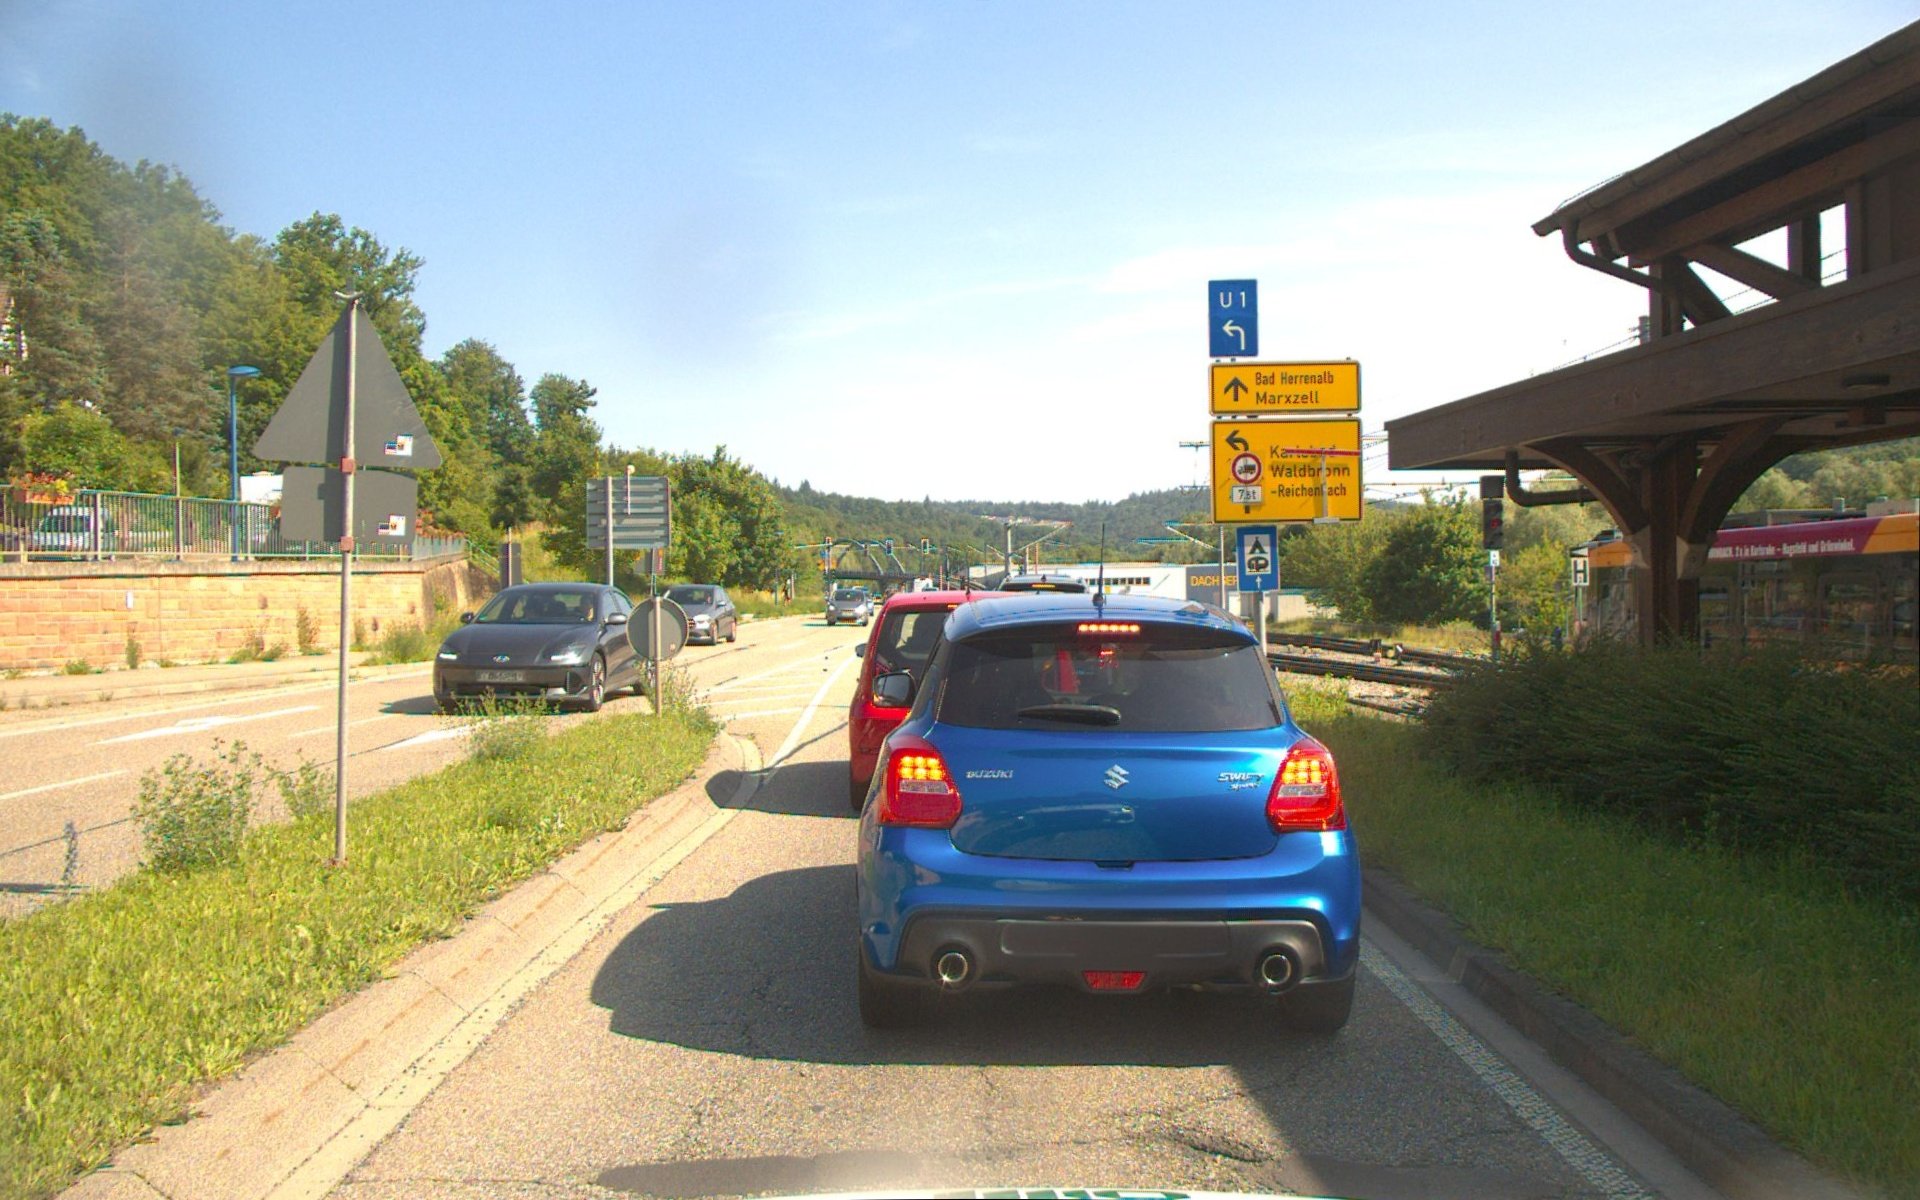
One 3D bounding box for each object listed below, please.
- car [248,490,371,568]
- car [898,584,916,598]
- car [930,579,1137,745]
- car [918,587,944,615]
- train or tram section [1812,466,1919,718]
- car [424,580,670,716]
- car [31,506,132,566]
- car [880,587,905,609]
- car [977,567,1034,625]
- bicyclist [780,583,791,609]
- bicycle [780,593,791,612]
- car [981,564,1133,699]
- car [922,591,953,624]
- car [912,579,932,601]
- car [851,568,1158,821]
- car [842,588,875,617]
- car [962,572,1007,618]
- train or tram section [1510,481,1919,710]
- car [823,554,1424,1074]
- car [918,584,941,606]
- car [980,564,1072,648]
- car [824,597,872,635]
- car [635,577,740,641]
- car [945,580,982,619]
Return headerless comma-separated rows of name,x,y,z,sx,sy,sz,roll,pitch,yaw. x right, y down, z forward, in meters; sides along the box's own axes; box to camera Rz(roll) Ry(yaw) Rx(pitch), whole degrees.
car,-17.726,-1.911,45.301,1.982,1.953,4.724,2,1,-7
car,-6.253,-1.108,194.597,1.953,1.581,4.214,1,0,-1
car,0.729,0.566,17.987,1.952,1.558,4.602,0,1,1
car,-2.250,0.051,130.246,1.953,2.048,4.000,2,1,-1
train or tram section,14.577,-0.076,19.098,2.731,3.423,12.041,2,0,-3
car,-4.997,0.514,20.706,1.754,1.496,4.717,0,1,2
car,-26.144,-1.863,49.344,1.864,1.658,3.982,0,1,-16
car,-5.679,-0.194,139.967,1.953,1.814,3.999,1,0,-1
car,1.684,-0.179,62.962,1.953,2.048,4.000,2,1,-1
bicyclist,-10.493,-0.222,99.573,0.617,1.533,0.505,2,1,-4
bicycle,-10.516,0.160,99.628,0.555,1.061,1.550,2,1,-4
car,1.316,0.395,24.080,1.952,1.716,4.497,2,1,1
car,-1.475,0.474,109.746,1.953,2.048,4.000,2,1,-1
car,-3.770,-0.996,165.777,1.953,2.181,4.719,1,0,-1
car,0.315,0.607,12.712,1.952,1.598,4.000,1,0,1
car,-5.976,0.128,97.720,1.795,1.493,3.810,2,3,-2
car,1.140,-0.284,79.236,1.953,2.048,4.000,2,1,-1
train or tram section,13.980,-0.149,31.069,2.701,3.422,12.042,2,1,-3
car,0.453,0.638,7.045,1.830,1.575,3.999,0,0,-2
car,-2.732,-0.440,148.527,1.953,1.848,4.000,2,1,-1
car,1.463,0.118,38.014,1.952,1.766,4.000,2,1,1
car,-4.561,0.630,67.526,1.637,1.466,3.840,1,0,1
car,-7.139,0.212,43.748,1.952,1.591,4.510,0,1,1
car,0.191,-0.049,93.106,1.953,2.048,4.000,2,1,-1
